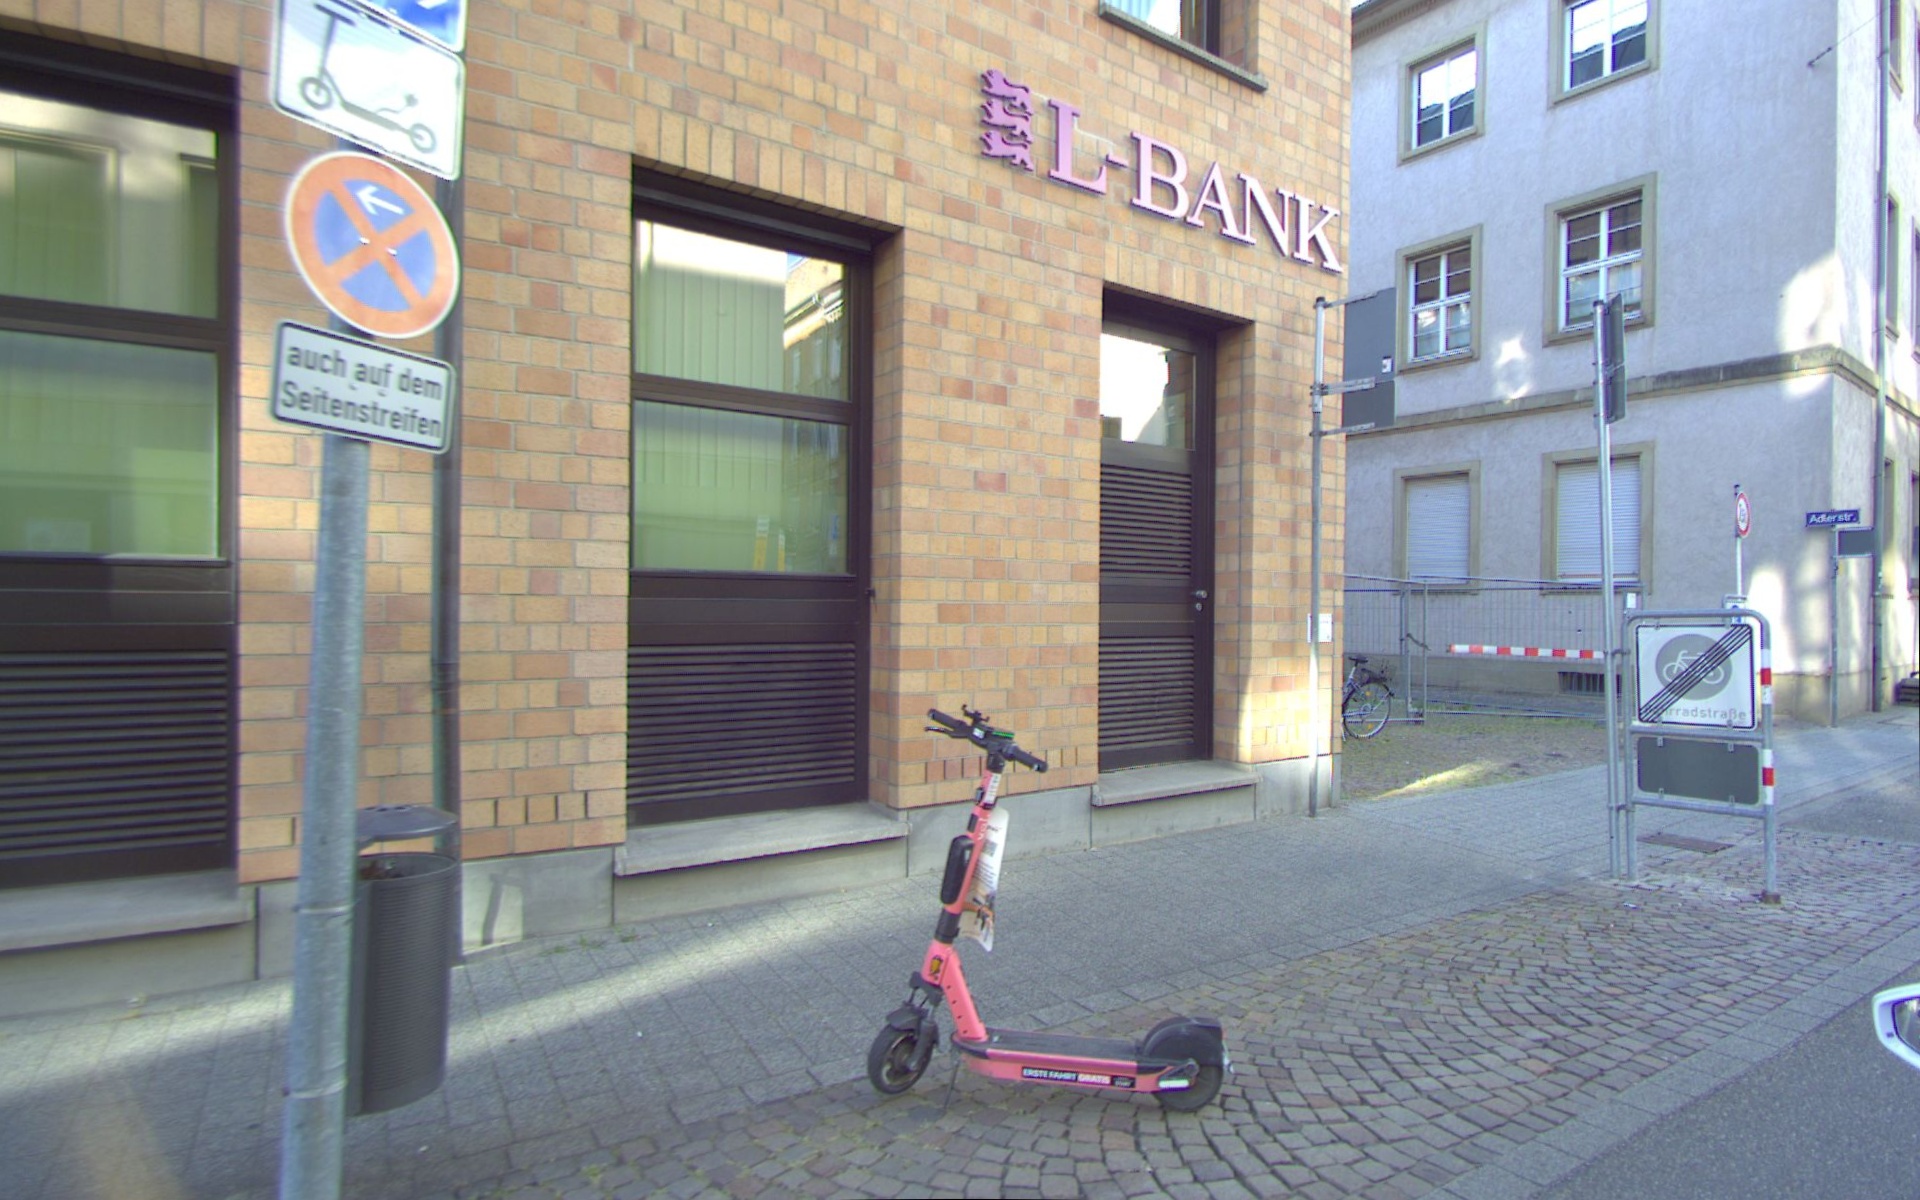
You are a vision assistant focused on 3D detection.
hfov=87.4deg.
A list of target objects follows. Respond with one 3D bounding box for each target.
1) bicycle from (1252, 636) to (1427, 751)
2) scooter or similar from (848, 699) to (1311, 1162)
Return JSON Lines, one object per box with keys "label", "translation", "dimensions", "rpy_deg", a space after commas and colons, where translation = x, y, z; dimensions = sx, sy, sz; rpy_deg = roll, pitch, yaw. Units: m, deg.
{"label": "bicycle", "translation": [4.363, 1.045, 11.581], "dimensions": [1.745, 1.217, 0.808], "rpy_deg": [1, 1, -17]}
{"label": "scooter or similar", "translation": [0.331, 0.966, 3.210], "dimensions": [1.331, 1.233, 0.700], "rpy_deg": [0, -1, -4]}
